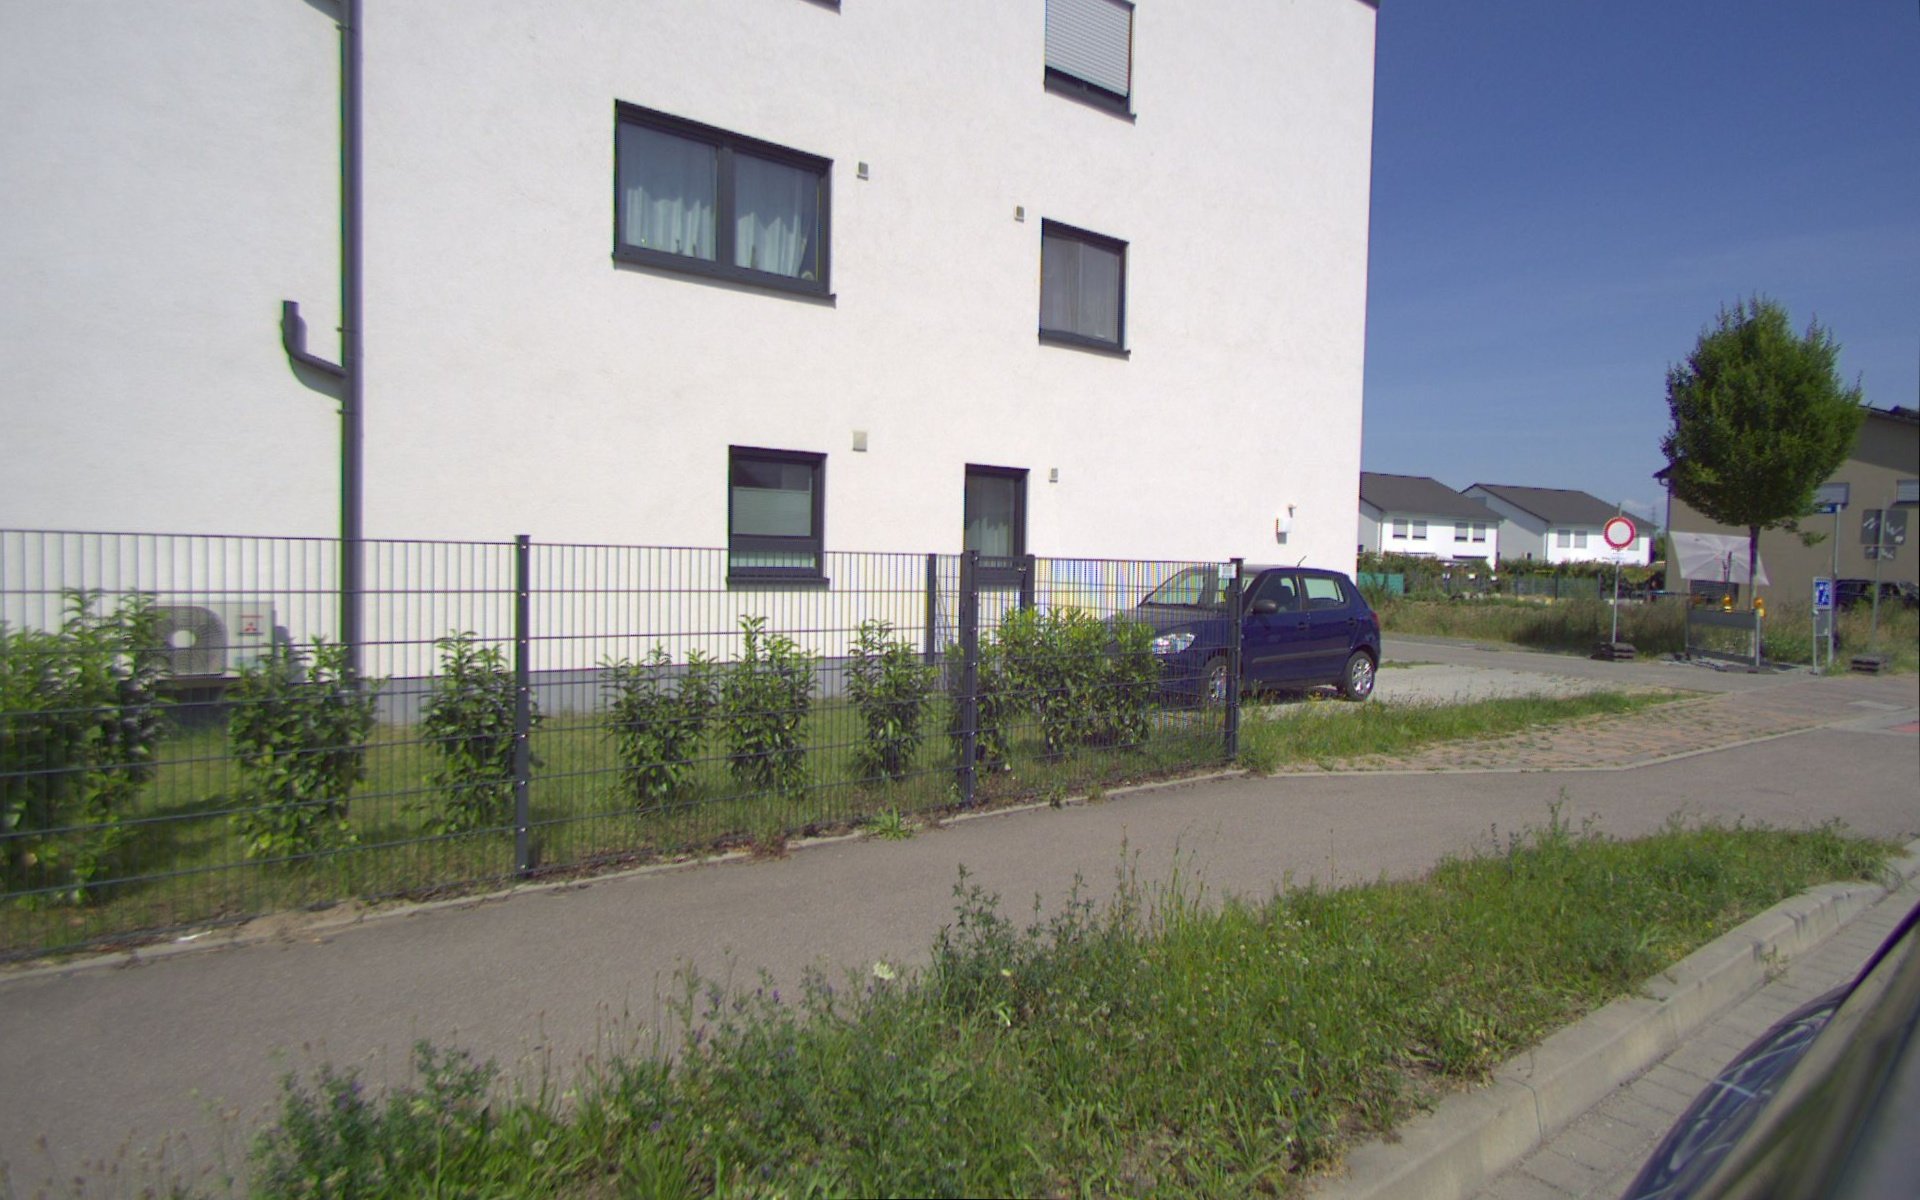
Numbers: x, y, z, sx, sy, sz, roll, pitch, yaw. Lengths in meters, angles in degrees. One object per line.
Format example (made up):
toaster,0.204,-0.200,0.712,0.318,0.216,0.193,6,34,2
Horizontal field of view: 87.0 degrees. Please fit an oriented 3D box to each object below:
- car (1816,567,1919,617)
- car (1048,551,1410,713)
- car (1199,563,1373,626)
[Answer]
car,34.297,-0.275,36.550,1.961,1.664,4.768,-1,4,-31
car,3.064,0.274,11.196,4.039,1.488,1.683,0,1,-36
car,8.612,-0.218,27.089,1.847,1.453,4.174,-1,4,-34
